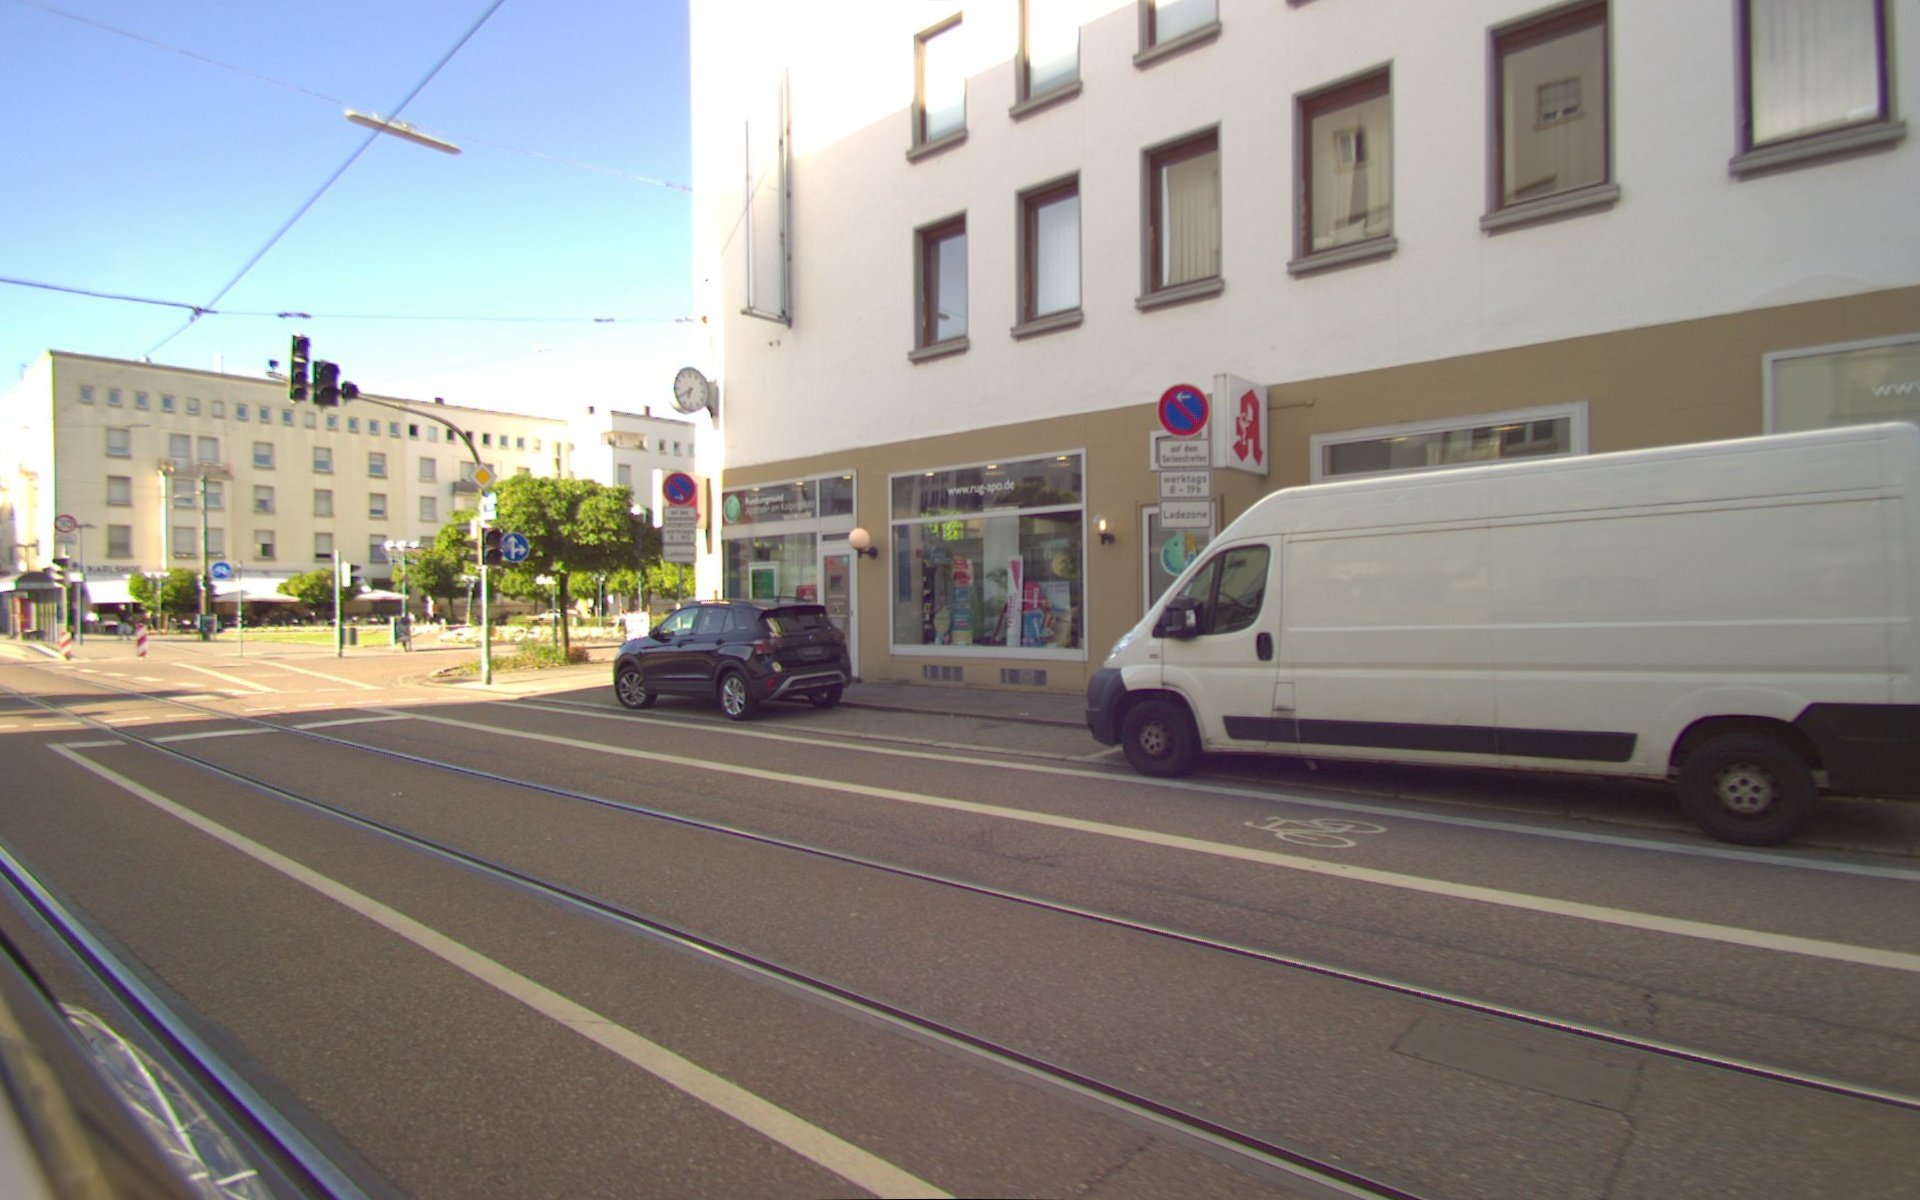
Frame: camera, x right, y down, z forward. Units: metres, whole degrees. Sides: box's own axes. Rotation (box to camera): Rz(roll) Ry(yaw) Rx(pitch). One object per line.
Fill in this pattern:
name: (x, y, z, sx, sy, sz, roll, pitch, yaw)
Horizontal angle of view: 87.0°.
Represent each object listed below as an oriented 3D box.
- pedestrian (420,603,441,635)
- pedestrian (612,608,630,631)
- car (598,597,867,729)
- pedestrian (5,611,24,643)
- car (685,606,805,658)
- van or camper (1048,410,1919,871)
pedestrian: (-28.187, 0.993, 53.888, 0.826, 1.708, 0.668, -1, 0, -4)
pedestrian: (-21.707, 1.250, 64.842, 0.667, 1.428, 0.828, -1, -1, 39)
car: (-3.349, 0.803, 14.513, 3.992, 1.564, 1.764, -1, 1, 42)
pedestrian: (-46.177, 1.313, 49.433, 0.609, 1.501, 0.545, -1, -1, 35)
car: (-7.543, 1.089, 35.788, 1.676, 1.723, 3.938, -1, -1, 41)
van or camper: (3.885, 0.221, 7.978, 6.228, 2.485, 2.150, -1, 1, 41)
